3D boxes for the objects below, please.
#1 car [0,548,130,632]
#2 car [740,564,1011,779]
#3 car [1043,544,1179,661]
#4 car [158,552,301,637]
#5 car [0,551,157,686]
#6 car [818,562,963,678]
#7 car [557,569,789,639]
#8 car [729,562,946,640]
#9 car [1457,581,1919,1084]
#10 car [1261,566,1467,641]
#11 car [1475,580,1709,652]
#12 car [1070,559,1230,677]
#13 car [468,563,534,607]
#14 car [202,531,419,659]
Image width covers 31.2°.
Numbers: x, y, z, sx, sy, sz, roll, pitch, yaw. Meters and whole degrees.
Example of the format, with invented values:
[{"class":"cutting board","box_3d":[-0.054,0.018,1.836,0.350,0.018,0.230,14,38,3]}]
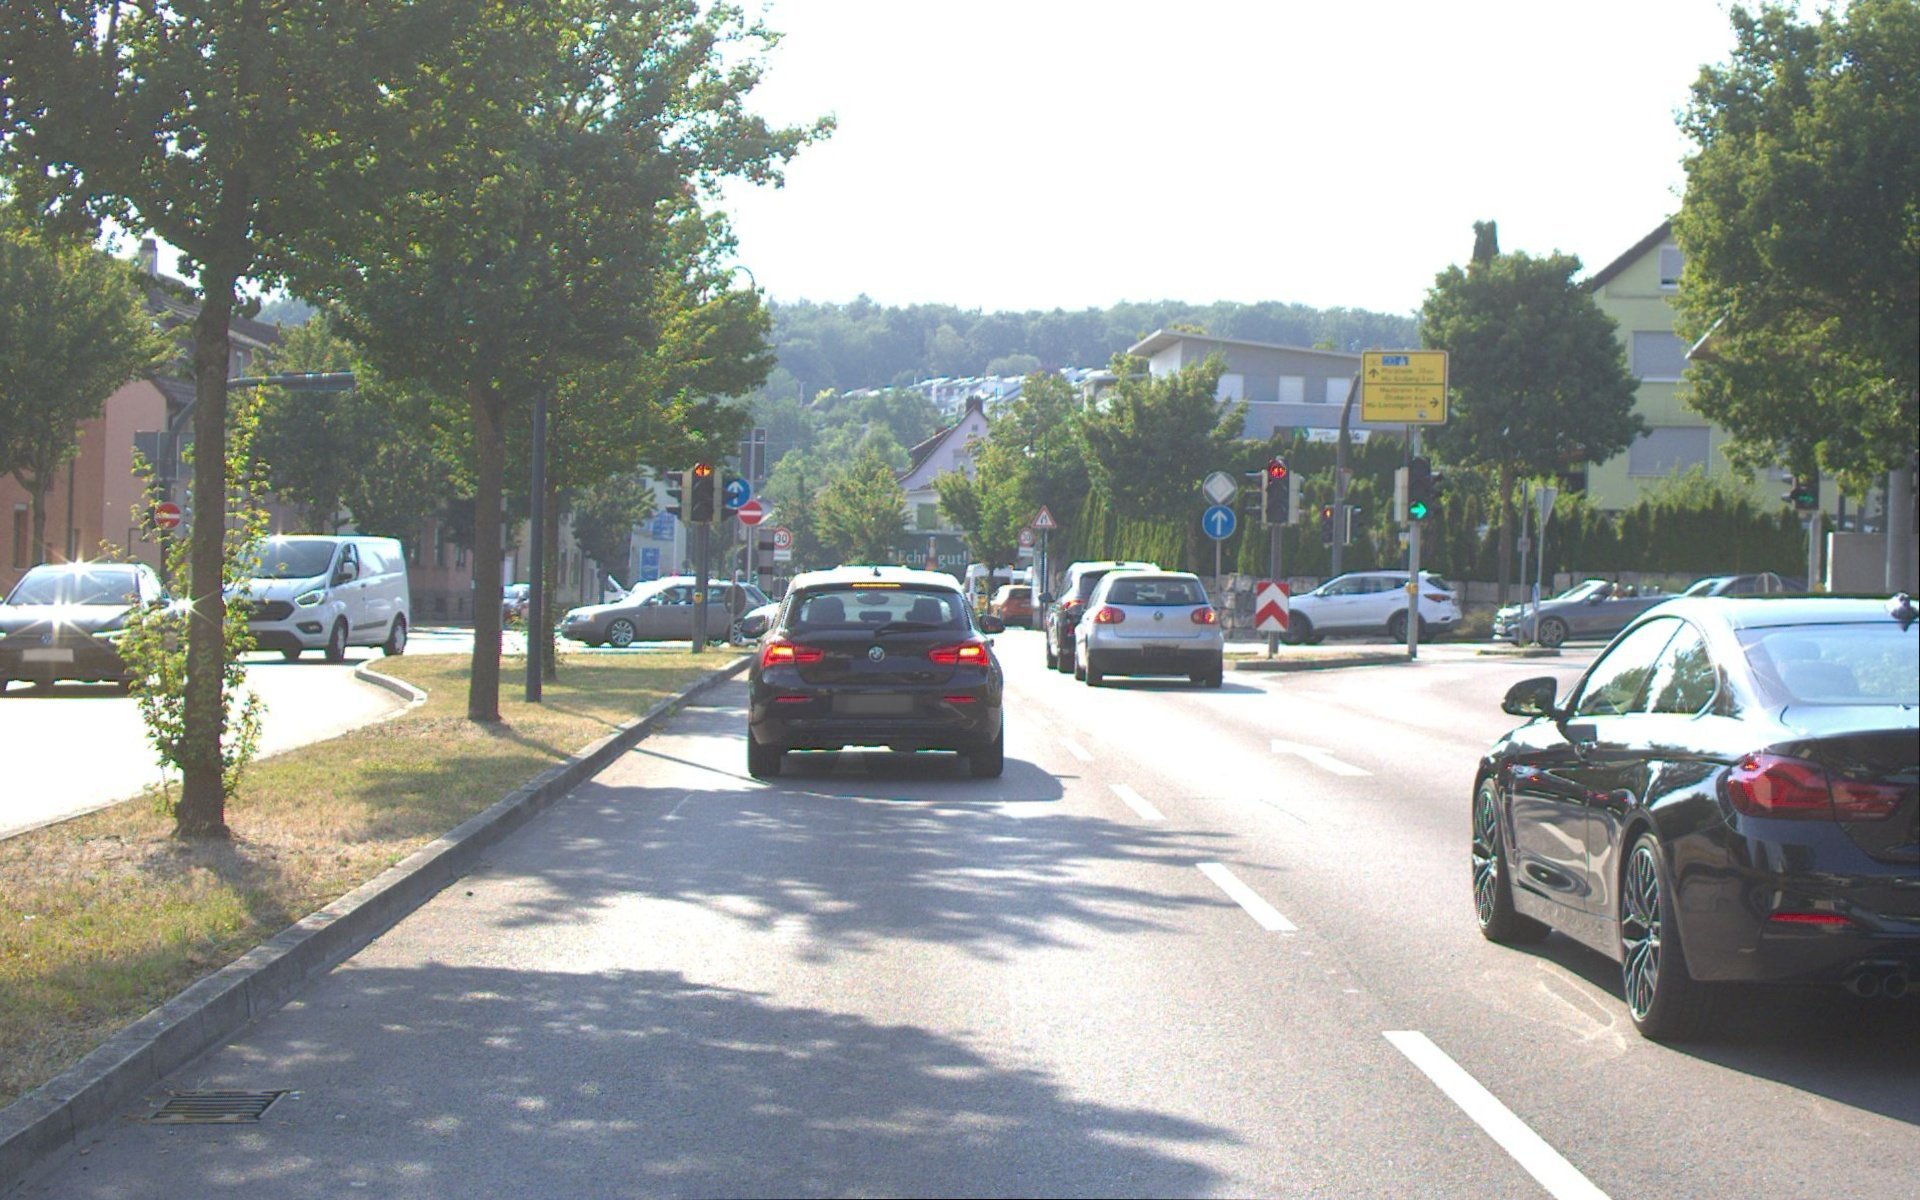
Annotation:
[{"class":"car","box_3d":[-18.159,-0.212,69.102,1.843,1.546,4.000,3,1,1]},{"class":"car","box_3d":[-0.571,0.455,25.054,1.790,1.410,4.347,1,1,0]},{"class":"car","box_3d":[2.220,0.014,51.631,1.816,1.660,4.347,1,1,0]},{"class":"car","box_3d":[-13.446,-0.121,63.509,1.807,1.492,4.246,1,1,-1]},{"class":"car","box_3d":[-10.203,0.176,39.183,1.768,1.446,4.109,1,1,-9]},{"class":"car","box_3d":[-0.892,0.231,45.648,1.816,1.446,4.242,1,1,0]},{"class":"car","box_3d":[-6.204,0.086,74.229,4.695,1.457,1.692,0,1,-21]},{"class":"car","box_3d":[-2.446,0.016,68.588,3.941,1.492,1.807,1,0,-21]},{"class":"car","box_3d":[2.946,0.646,11.793,1.816,1.384,4.347,1,1,0]},{"class":"car","box_3d":[9.420,0.079,80.104,4.512,1.696,1.895,0,0,17]},{"class":"car","box_3d":[13.309,0.332,72.458,4.462,1.344,1.787,1,4,-11]},{"class":"car","box_3d":[2.427,0.201,44.913,1.816,1.441,4.347,1,1,0]},{"class":"car","box_3d":[-17.104,-0.559,128.255,1.924,1.590,4.000,1,1,0]},{"class":"car","box_3d":[-10.216,-0.097,54.436,1.823,1.917,4.943,1,1,9]}]
